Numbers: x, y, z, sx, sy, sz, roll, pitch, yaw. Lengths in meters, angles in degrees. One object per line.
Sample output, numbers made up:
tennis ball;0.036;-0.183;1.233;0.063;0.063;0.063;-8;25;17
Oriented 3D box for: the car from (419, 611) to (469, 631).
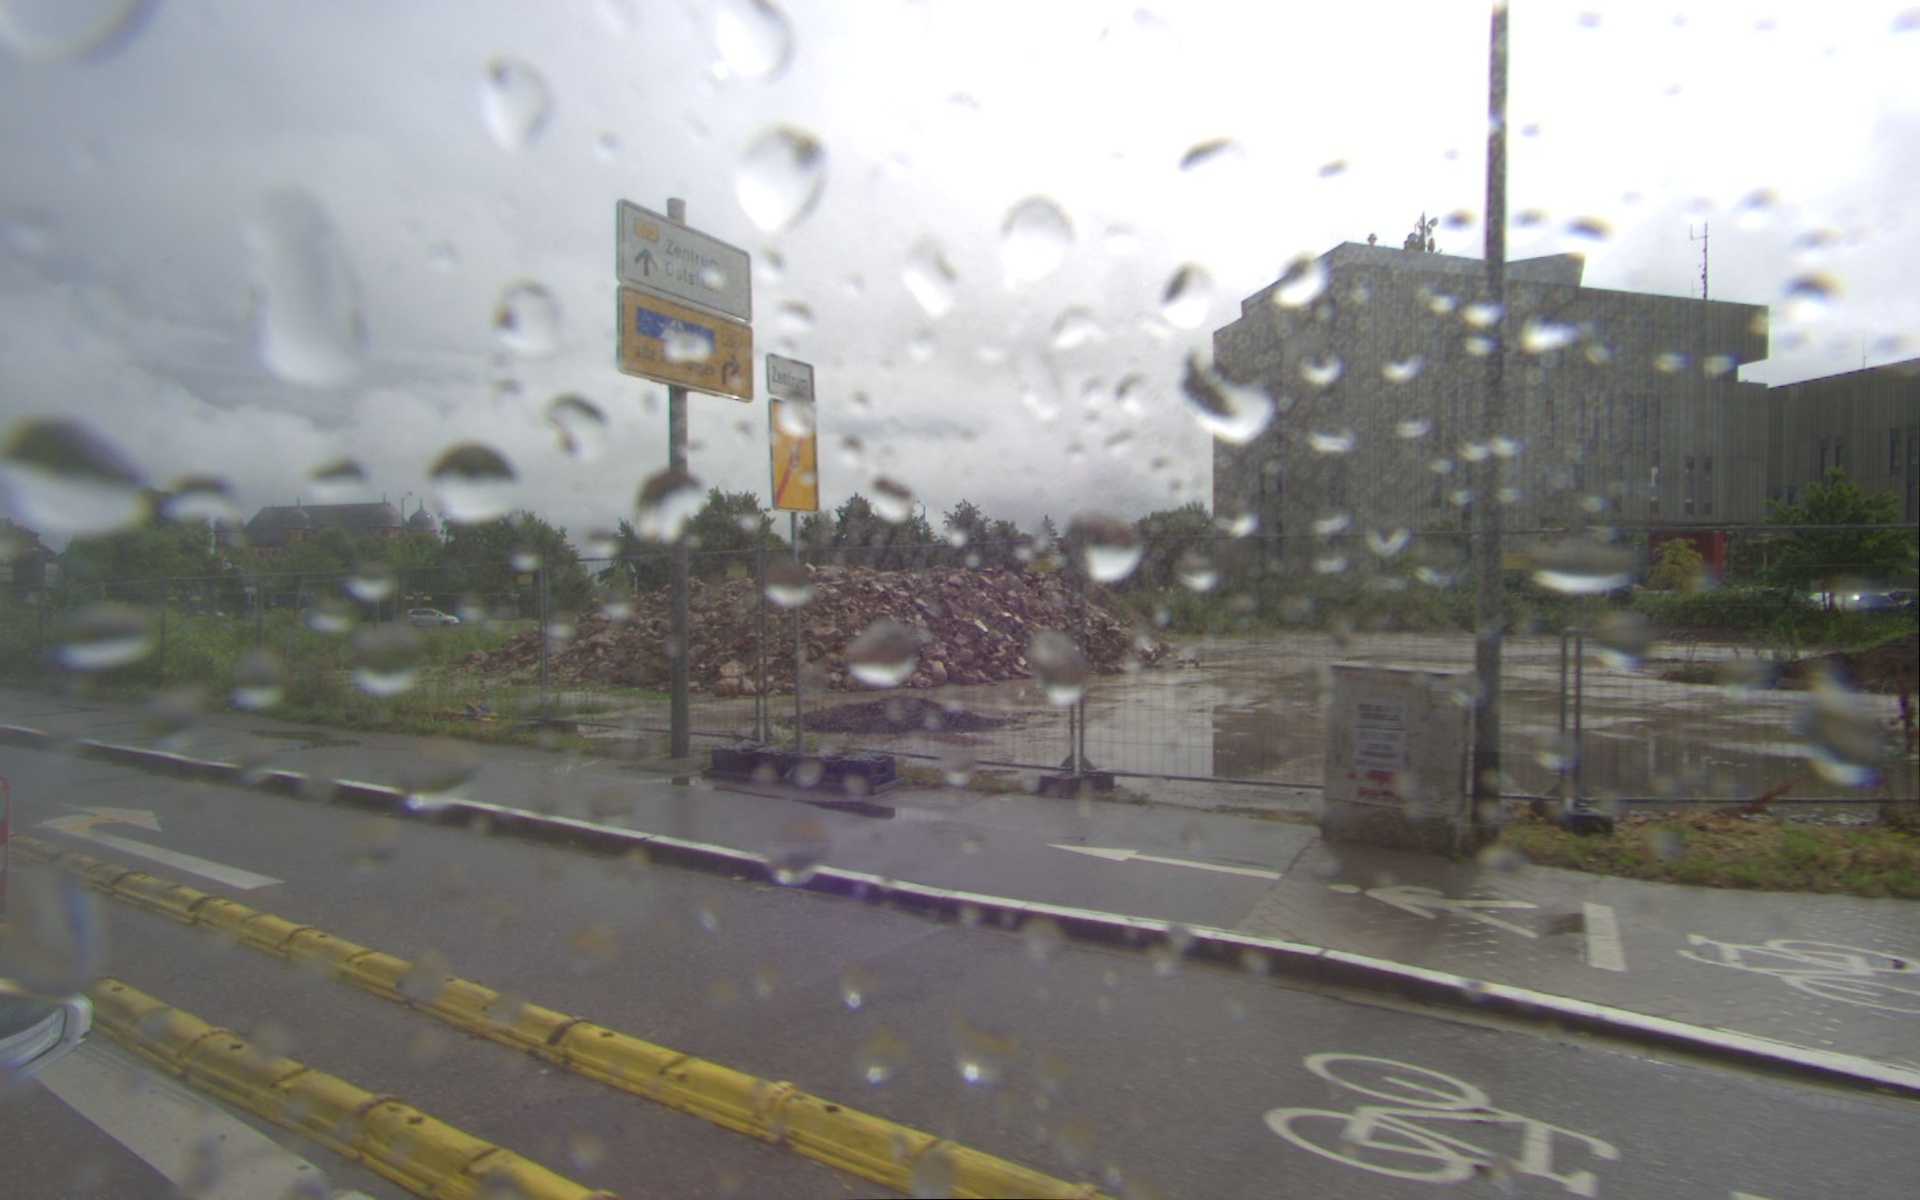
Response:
car;-41.742;1.674;81.058;3.471;1.567;1.626;0;0;-22
